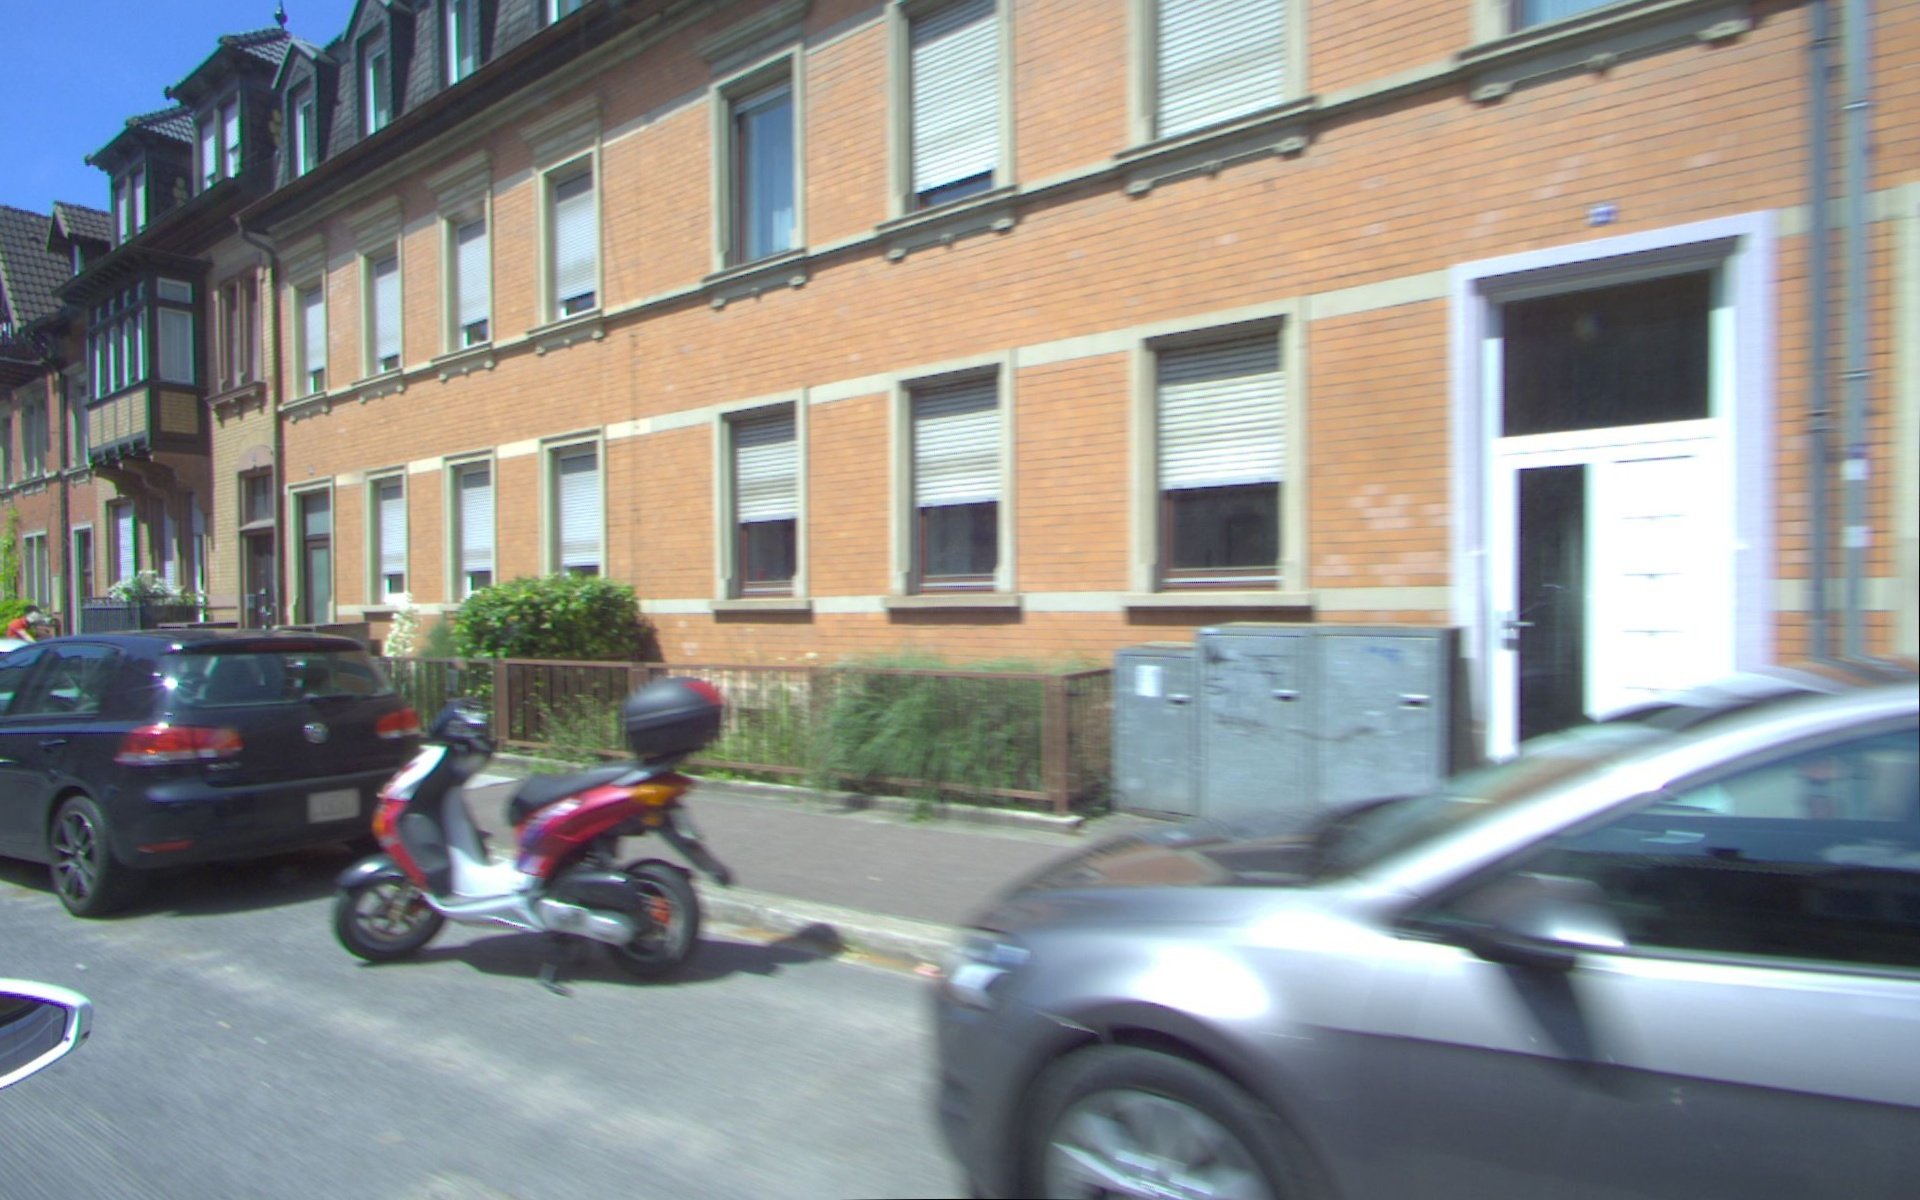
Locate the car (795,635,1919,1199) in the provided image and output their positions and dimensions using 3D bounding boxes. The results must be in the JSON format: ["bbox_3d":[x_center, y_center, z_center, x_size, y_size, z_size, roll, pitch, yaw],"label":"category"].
[{"bbox_3d":[1.793,0.795,2.088,4.106,1.399,1.698,-1,0,31],"label":"car"}]

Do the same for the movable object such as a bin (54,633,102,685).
[{"bbox_3d":[-19.539,1.291,22.183,0.751,1.091,0.607,0,1,35],"label":"movable object such as a bin"}]

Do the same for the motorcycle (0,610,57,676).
[{"bbox_3d":[-21.824,0.987,22.445,0.924,1.428,2.123,-1,2,33],"label":"motorcycle"}]

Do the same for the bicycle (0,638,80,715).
[{"bbox_3d":[-14.252,1.147,15.416,1.857,1.080,0.591,-1,1,34],"label":"bicycle"}]

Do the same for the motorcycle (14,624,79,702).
[{"bbox_3d":[-15.486,1.051,16.967,1.339,1.254,0.438,0,3,33],"label":"motorcycle"}]

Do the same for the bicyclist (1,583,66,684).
[{"bbox_3d":[-14.184,0.499,15.330,0.780,1.489,0.531,0,2,34],"label":"bicyclist"}]

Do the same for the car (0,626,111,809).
[{"bbox_3d":[-9.675,0.994,9.171,4.526,1.433,1.711,-1,1,34],"label":"car"}]

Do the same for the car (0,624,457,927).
[{"bbox_3d":[-5.499,0.904,6.593,4.432,1.433,1.647,-1,0,28],"label":"car"}]

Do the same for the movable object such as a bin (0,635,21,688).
[{"bbox_3d":[-20.275,1.297,21.094,0.717,1.090,0.555,0,1,35],"label":"movable object such as a bin"}]

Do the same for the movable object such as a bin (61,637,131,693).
[{"bbox_3d":[-15.275,1.133,17.715,0.531,0.919,0.786,0,1,31],"label":"movable object such as a bin"}]

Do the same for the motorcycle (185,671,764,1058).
[{"bbox_3d":[-1.889,0.964,4.264,1.961,1.241,1.111,0,-1,-18],"label":"motorcycle"}]
